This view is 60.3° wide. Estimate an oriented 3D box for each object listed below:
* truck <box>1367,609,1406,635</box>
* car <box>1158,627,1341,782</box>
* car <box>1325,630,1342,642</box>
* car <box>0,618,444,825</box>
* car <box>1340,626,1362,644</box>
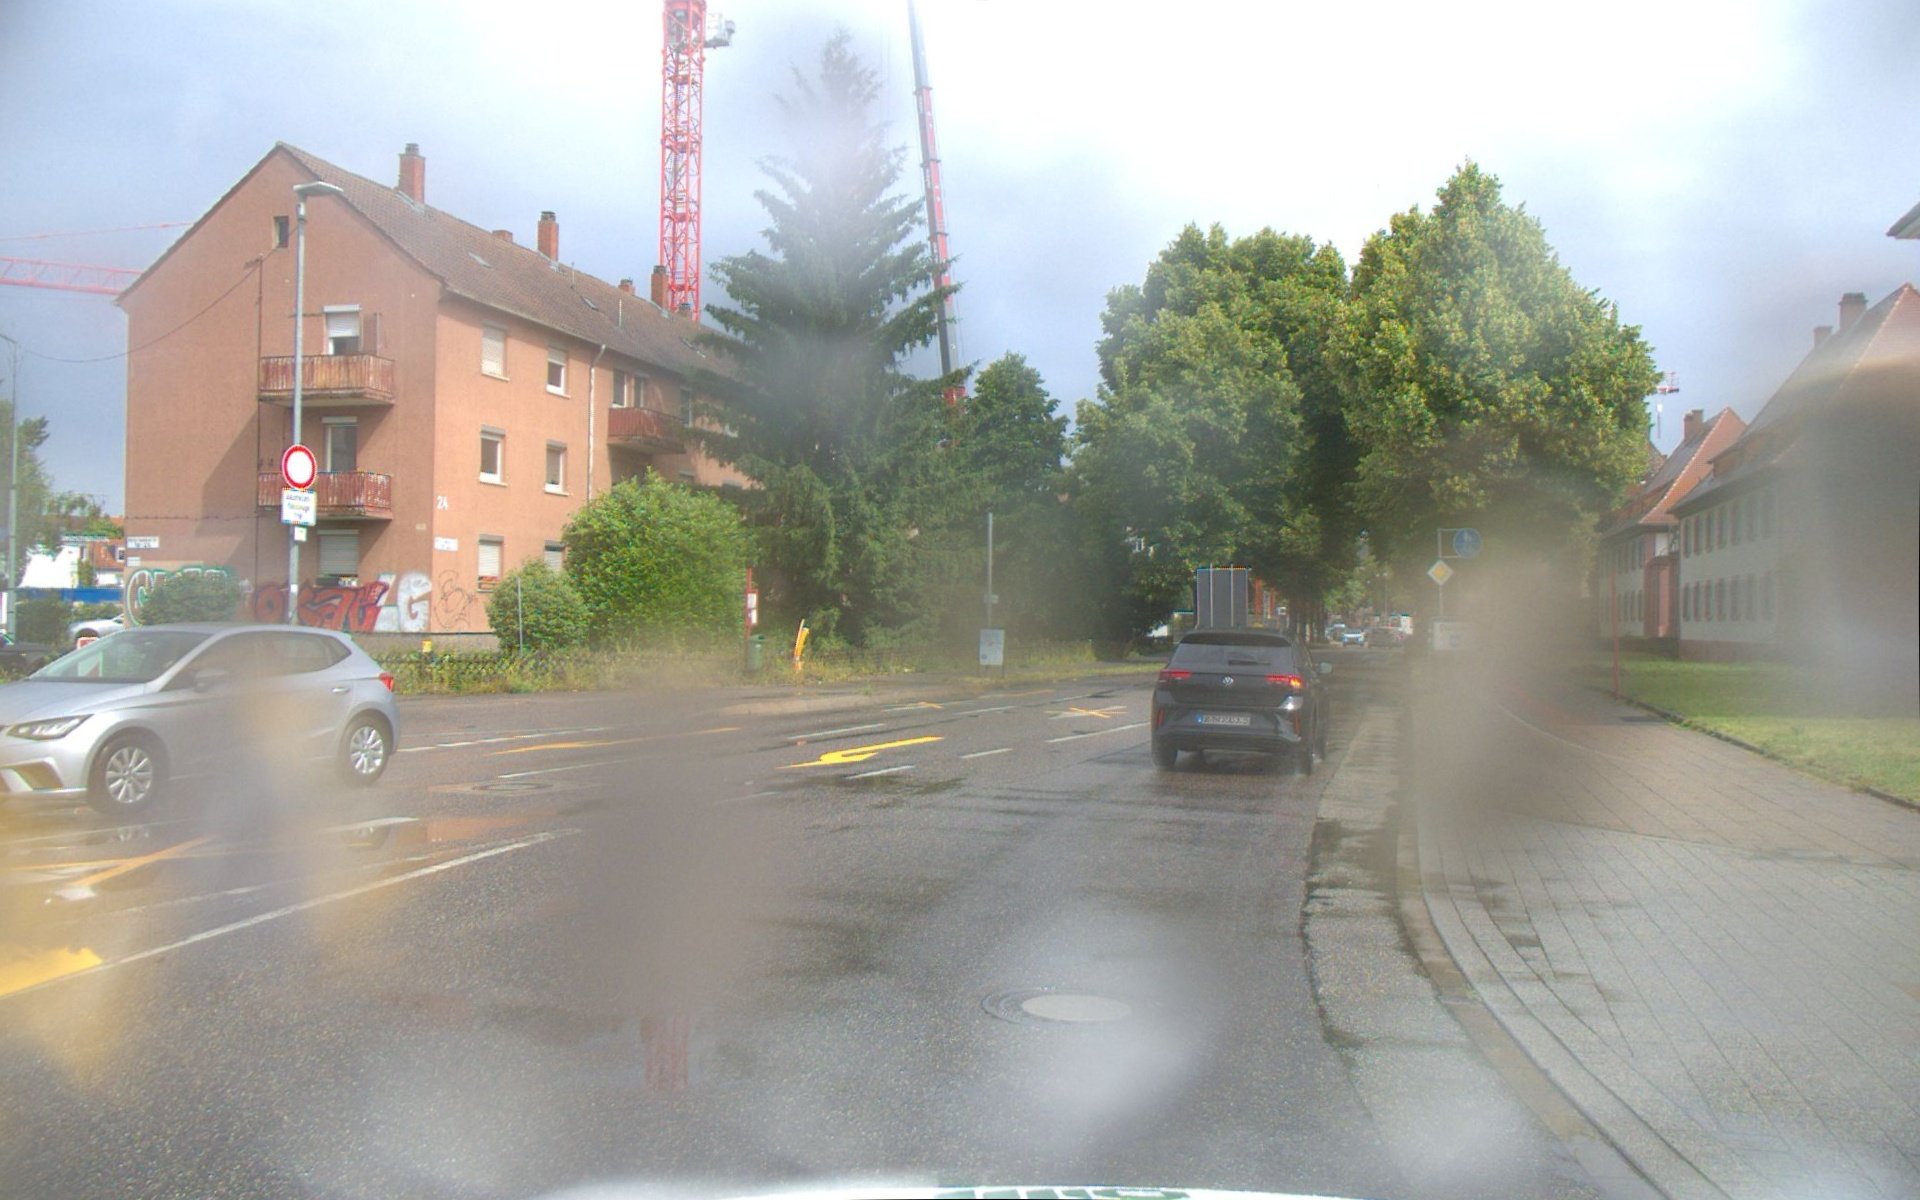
[{"bbox_3d":[47.028,2.416,182.568,2.746,2.703,8.244,1,0,4],"label":"truck"},{"bbox_3d":[3.357,1.119,19.159,1.854,1.549,4.003,1,-1,10],"label":"car"},{"bbox_3d":[47.980,4.608,212.207,1.558,1.538,3.731,-3,-2,21],"label":"car"},{"bbox_3d":[-6.448,0.904,13.939,1.703,1.439,4.178,1,-1,23],"label":"car"},{"bbox_3d":[37.160,3.329,157.155,1.846,1.744,4.232,0,-1,16],"label":"car"}]
